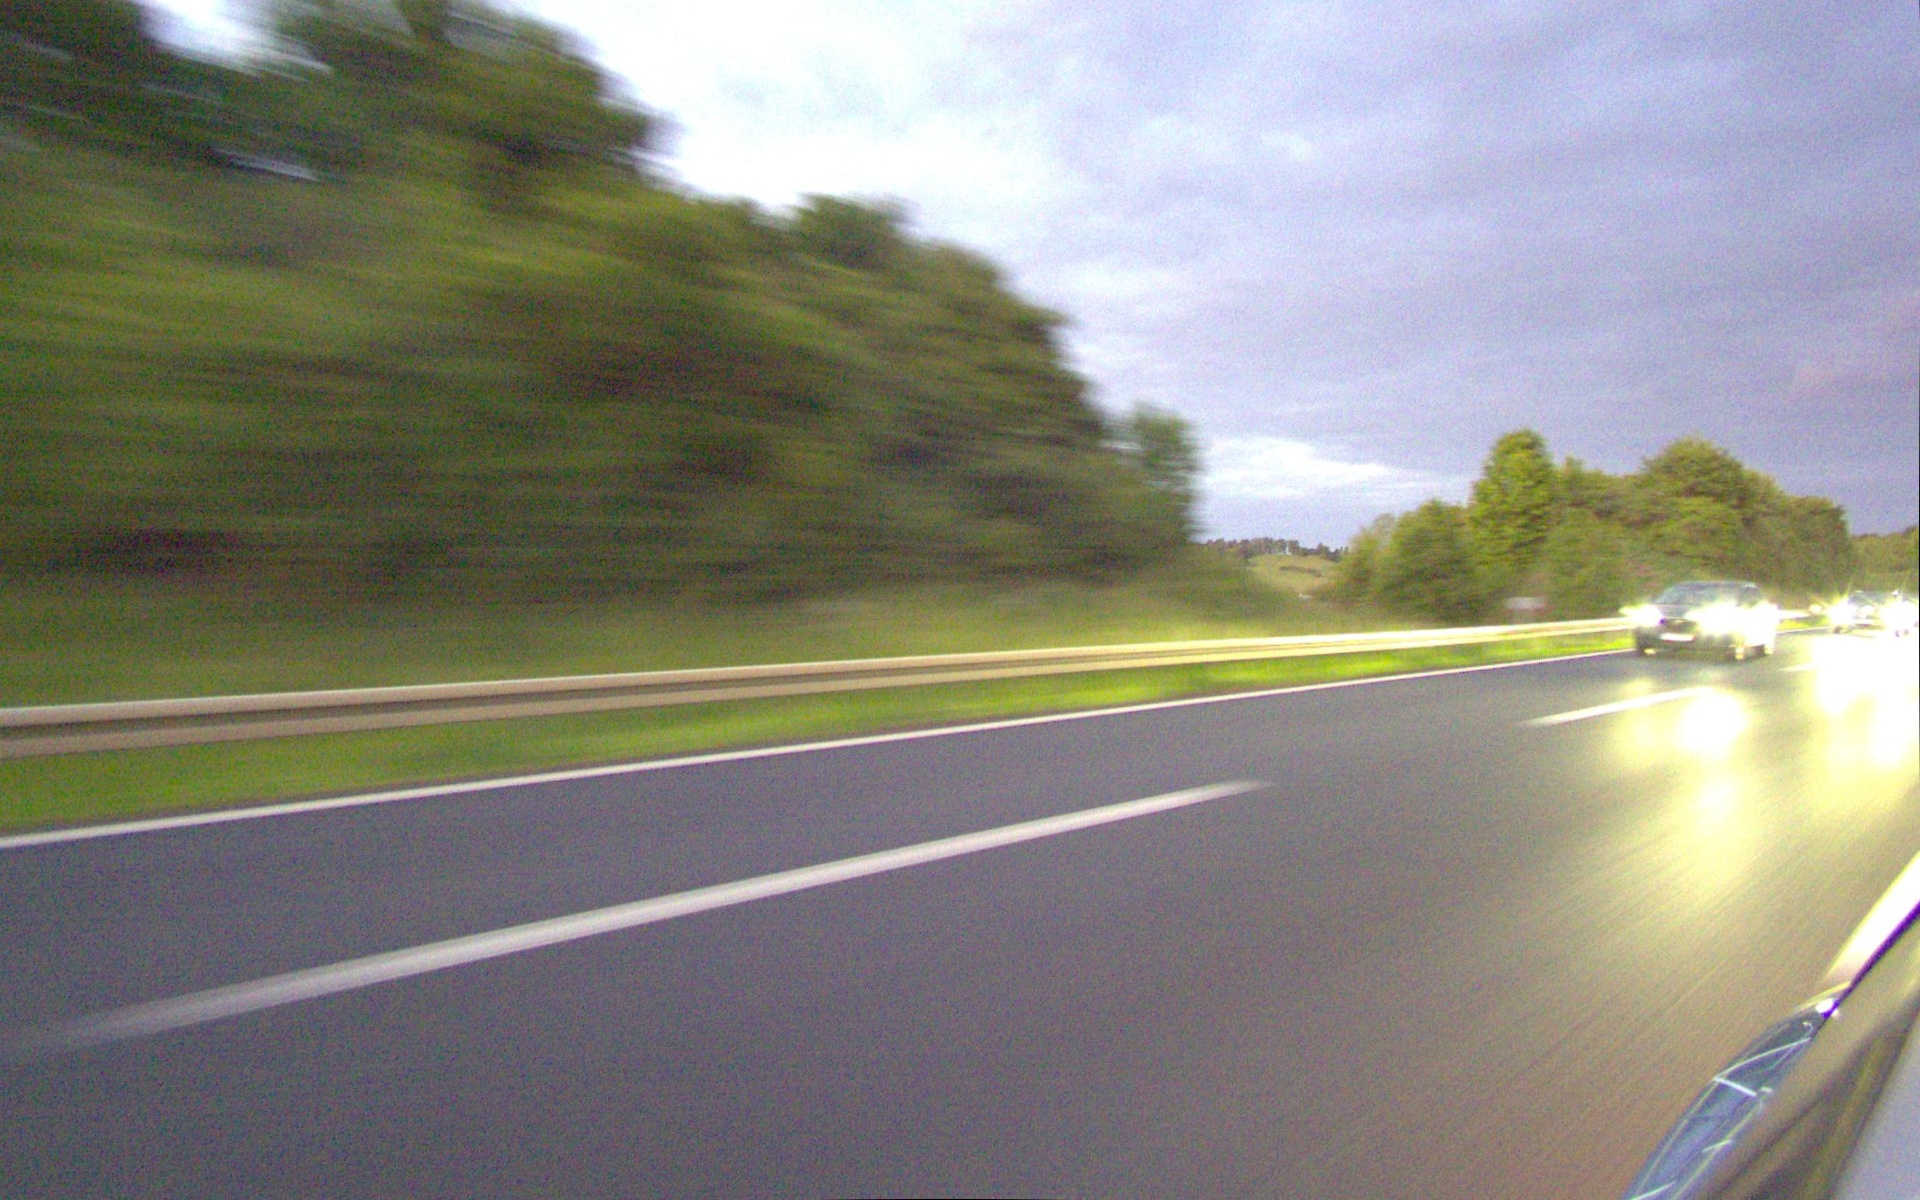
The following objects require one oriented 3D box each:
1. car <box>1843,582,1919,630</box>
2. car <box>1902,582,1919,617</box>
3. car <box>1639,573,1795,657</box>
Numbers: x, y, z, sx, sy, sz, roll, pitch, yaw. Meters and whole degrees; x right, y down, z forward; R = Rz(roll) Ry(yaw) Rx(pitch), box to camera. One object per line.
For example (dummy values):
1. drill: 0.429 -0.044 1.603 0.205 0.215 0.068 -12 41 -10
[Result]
1. car: 31.832 0.174 34.769 5.032 1.510 1.800 -1 2 -44
2. car: 43.323 -0.050 44.987 4.362 1.511 1.799 -1 -1 -44
3. car: 16.960 0.257 22.570 5.071 1.665 1.801 -1 2 -42
